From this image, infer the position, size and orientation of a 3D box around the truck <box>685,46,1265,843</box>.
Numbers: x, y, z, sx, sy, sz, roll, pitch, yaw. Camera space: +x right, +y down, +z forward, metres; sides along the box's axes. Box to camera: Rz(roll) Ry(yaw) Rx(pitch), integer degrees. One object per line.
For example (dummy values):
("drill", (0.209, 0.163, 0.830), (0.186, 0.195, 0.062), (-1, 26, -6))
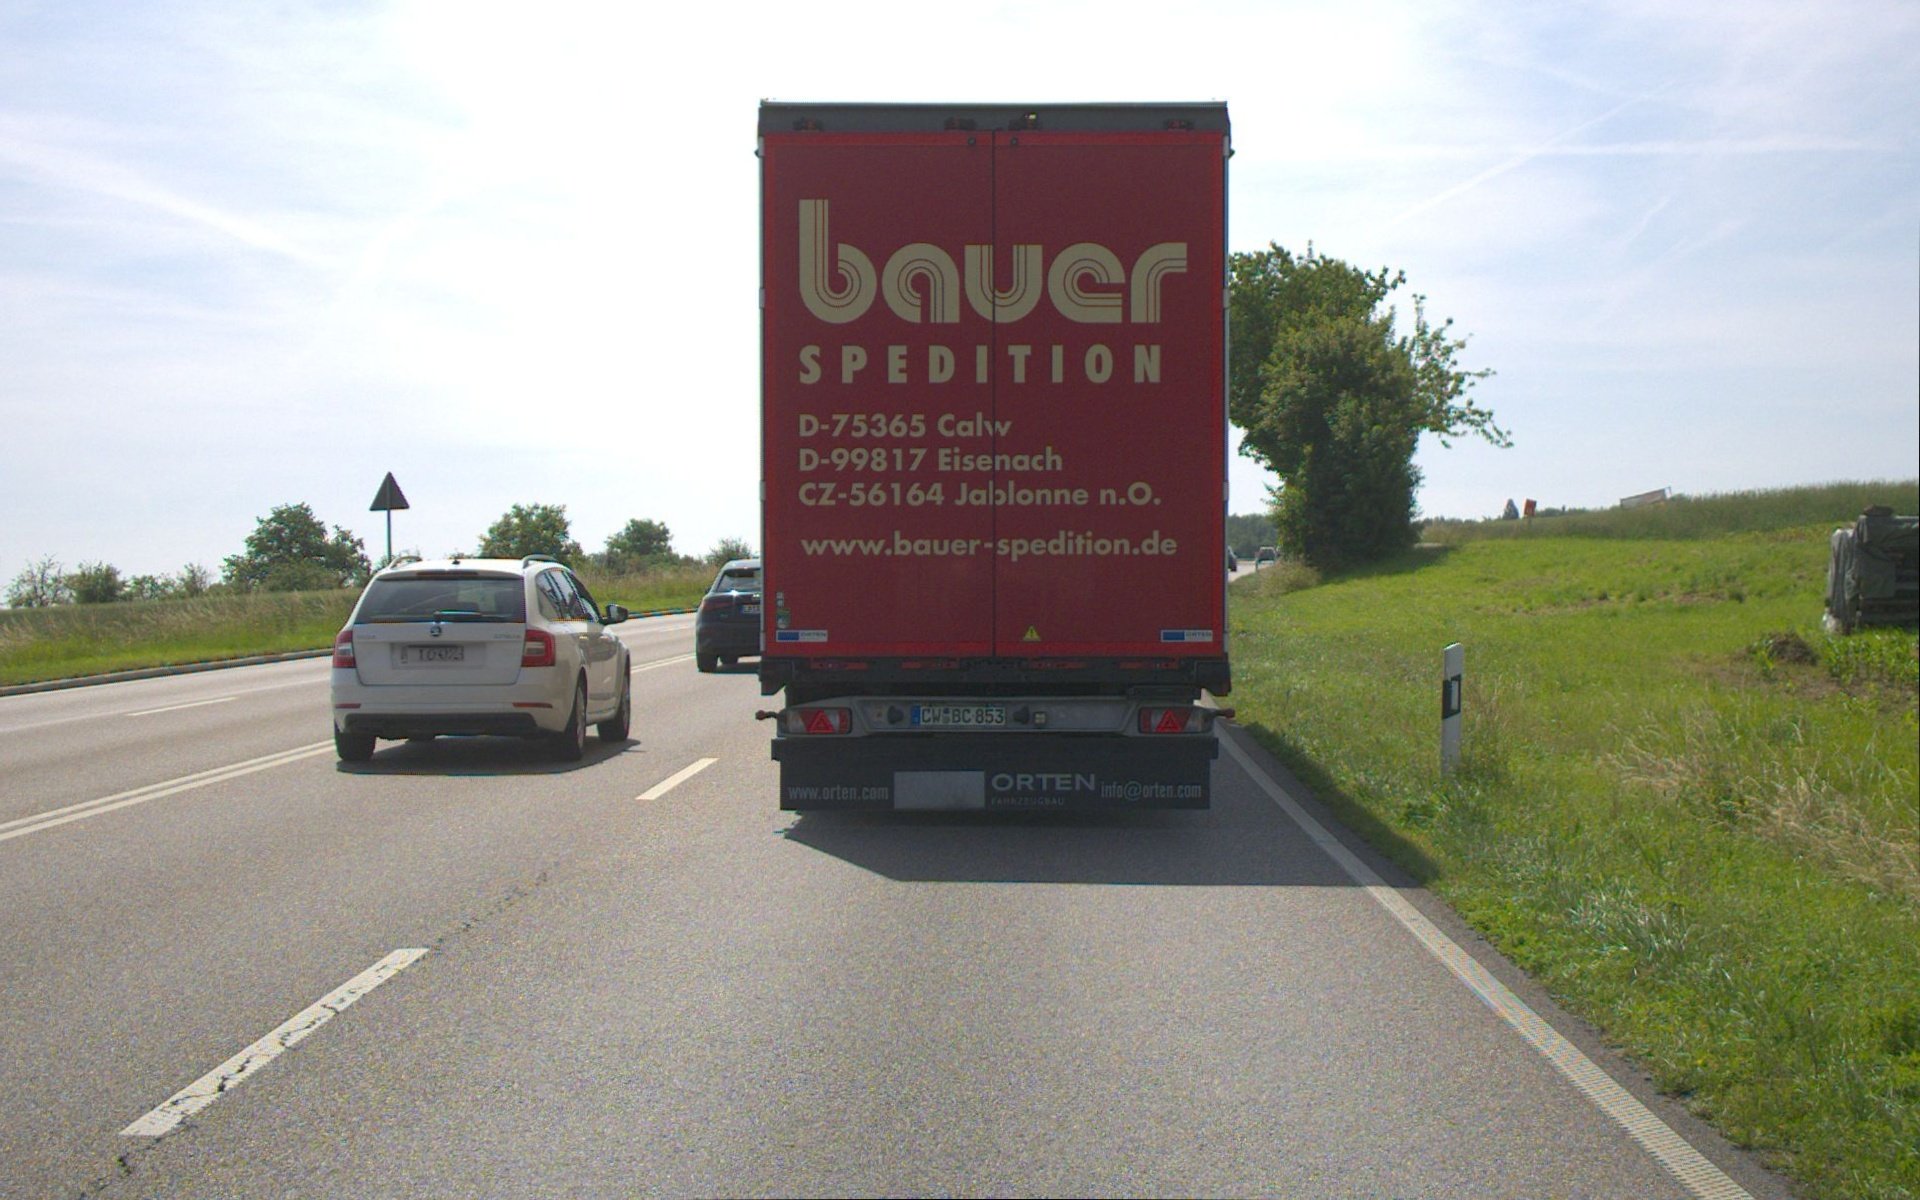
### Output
("truck", (0.261, -0.912, 26.504), (3.007, 4.166, 16.714), (1, 1, 1))

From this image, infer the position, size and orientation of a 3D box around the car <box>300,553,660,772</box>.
("car", (-3.495, 0.394, 25.904), (1.821, 1.467, 4.788), (1, 1, 3))

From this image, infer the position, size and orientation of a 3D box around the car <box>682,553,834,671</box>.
("car", (-2.614, 0.123, 45.378), (1.705, 1.467, 4.811), (0, 1, 0))

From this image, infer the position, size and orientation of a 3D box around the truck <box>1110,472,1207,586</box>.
("truck", (7.466, -2.557, 127.103), (3.047, 3.897, 18.395), (0, 1, 5))
